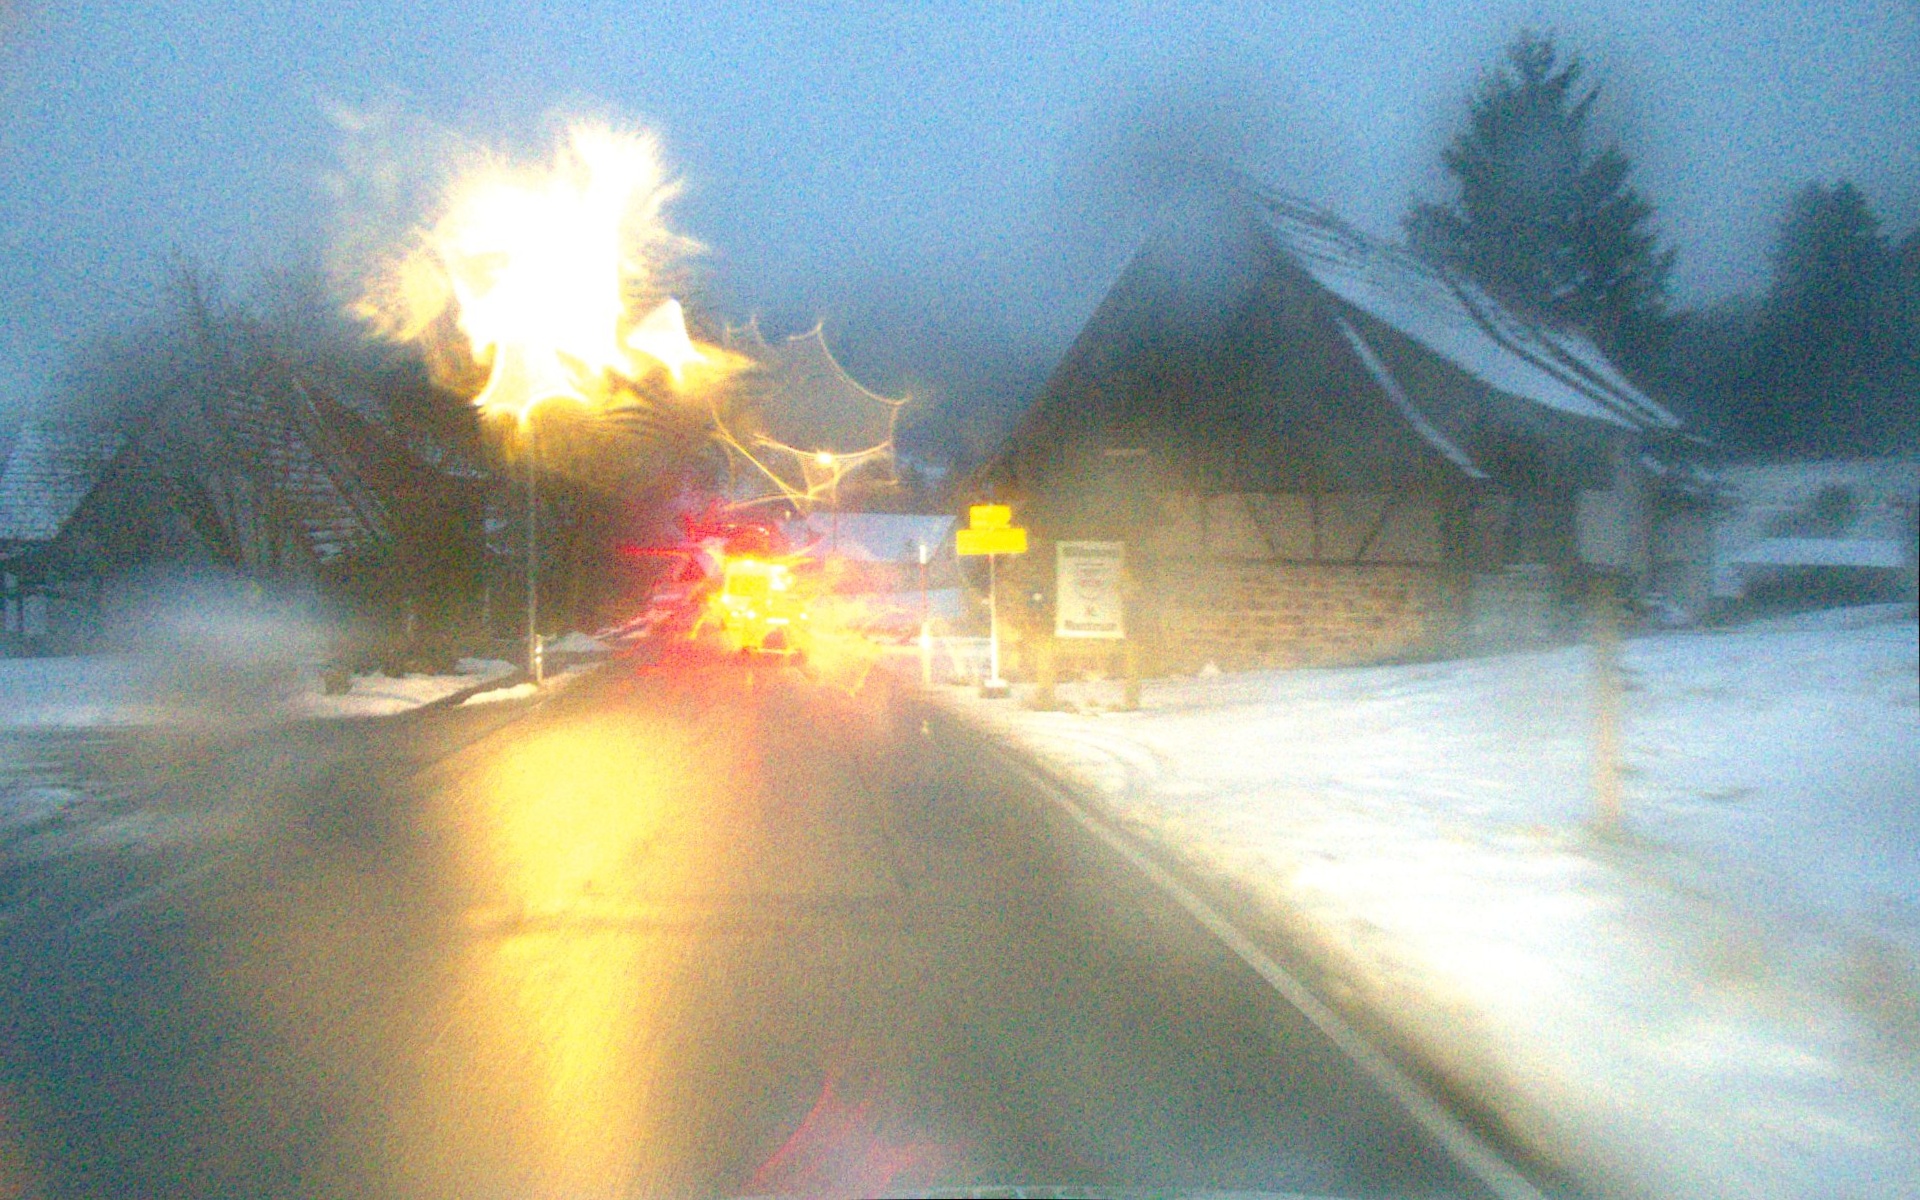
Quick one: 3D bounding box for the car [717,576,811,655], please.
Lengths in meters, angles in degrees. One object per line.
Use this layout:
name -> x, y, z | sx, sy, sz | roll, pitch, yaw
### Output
car -> -5.004, 0.350, 42.108 | 2.231, 1.873, 4.998 | 0, 0, -7

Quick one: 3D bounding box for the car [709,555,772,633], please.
car -> -9.121, -0.196, 68.415 | 2.390, 3.072, 5.313 | 0, -1, -9
